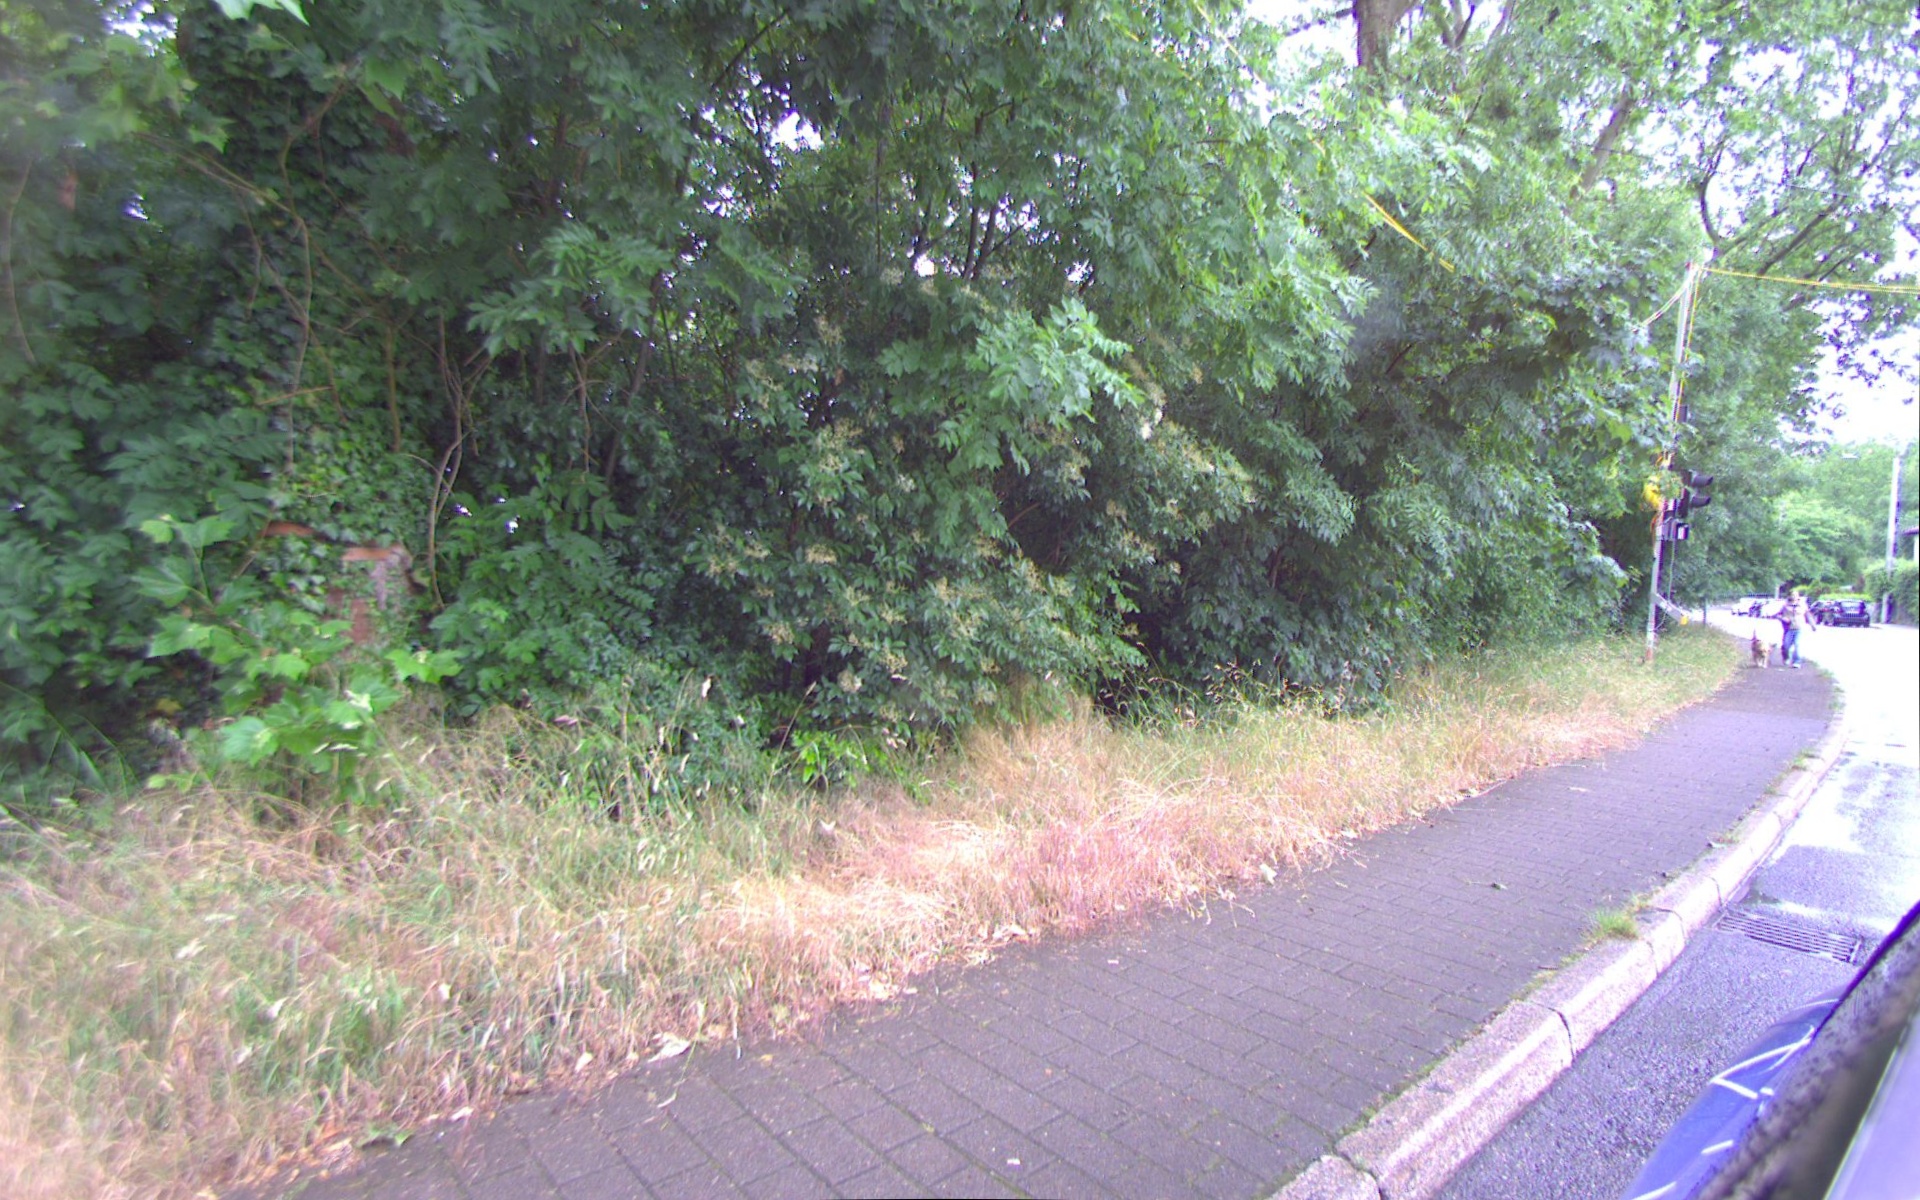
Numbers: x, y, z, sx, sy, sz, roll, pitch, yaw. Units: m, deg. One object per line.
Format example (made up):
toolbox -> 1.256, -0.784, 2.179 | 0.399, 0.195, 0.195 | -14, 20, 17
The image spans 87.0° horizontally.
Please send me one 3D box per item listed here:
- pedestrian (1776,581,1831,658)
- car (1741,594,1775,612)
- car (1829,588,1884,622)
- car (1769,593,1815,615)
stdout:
pedestrian -> 17.130, 0.385, 20.555 | 0.771, 1.518, 0.734 | 0, -1, -42
car -> 64.946, 0.204, 82.375 | 1.676, 1.445, 3.734 | 1, 1, 31
car -> 51.065, 0.270, 57.710 | 1.869, 1.848, 4.075 | 1, 1, 35
car -> 60.753, 0.282, 73.923 | 2.055, 1.504, 4.509 | 1, 1, 33
